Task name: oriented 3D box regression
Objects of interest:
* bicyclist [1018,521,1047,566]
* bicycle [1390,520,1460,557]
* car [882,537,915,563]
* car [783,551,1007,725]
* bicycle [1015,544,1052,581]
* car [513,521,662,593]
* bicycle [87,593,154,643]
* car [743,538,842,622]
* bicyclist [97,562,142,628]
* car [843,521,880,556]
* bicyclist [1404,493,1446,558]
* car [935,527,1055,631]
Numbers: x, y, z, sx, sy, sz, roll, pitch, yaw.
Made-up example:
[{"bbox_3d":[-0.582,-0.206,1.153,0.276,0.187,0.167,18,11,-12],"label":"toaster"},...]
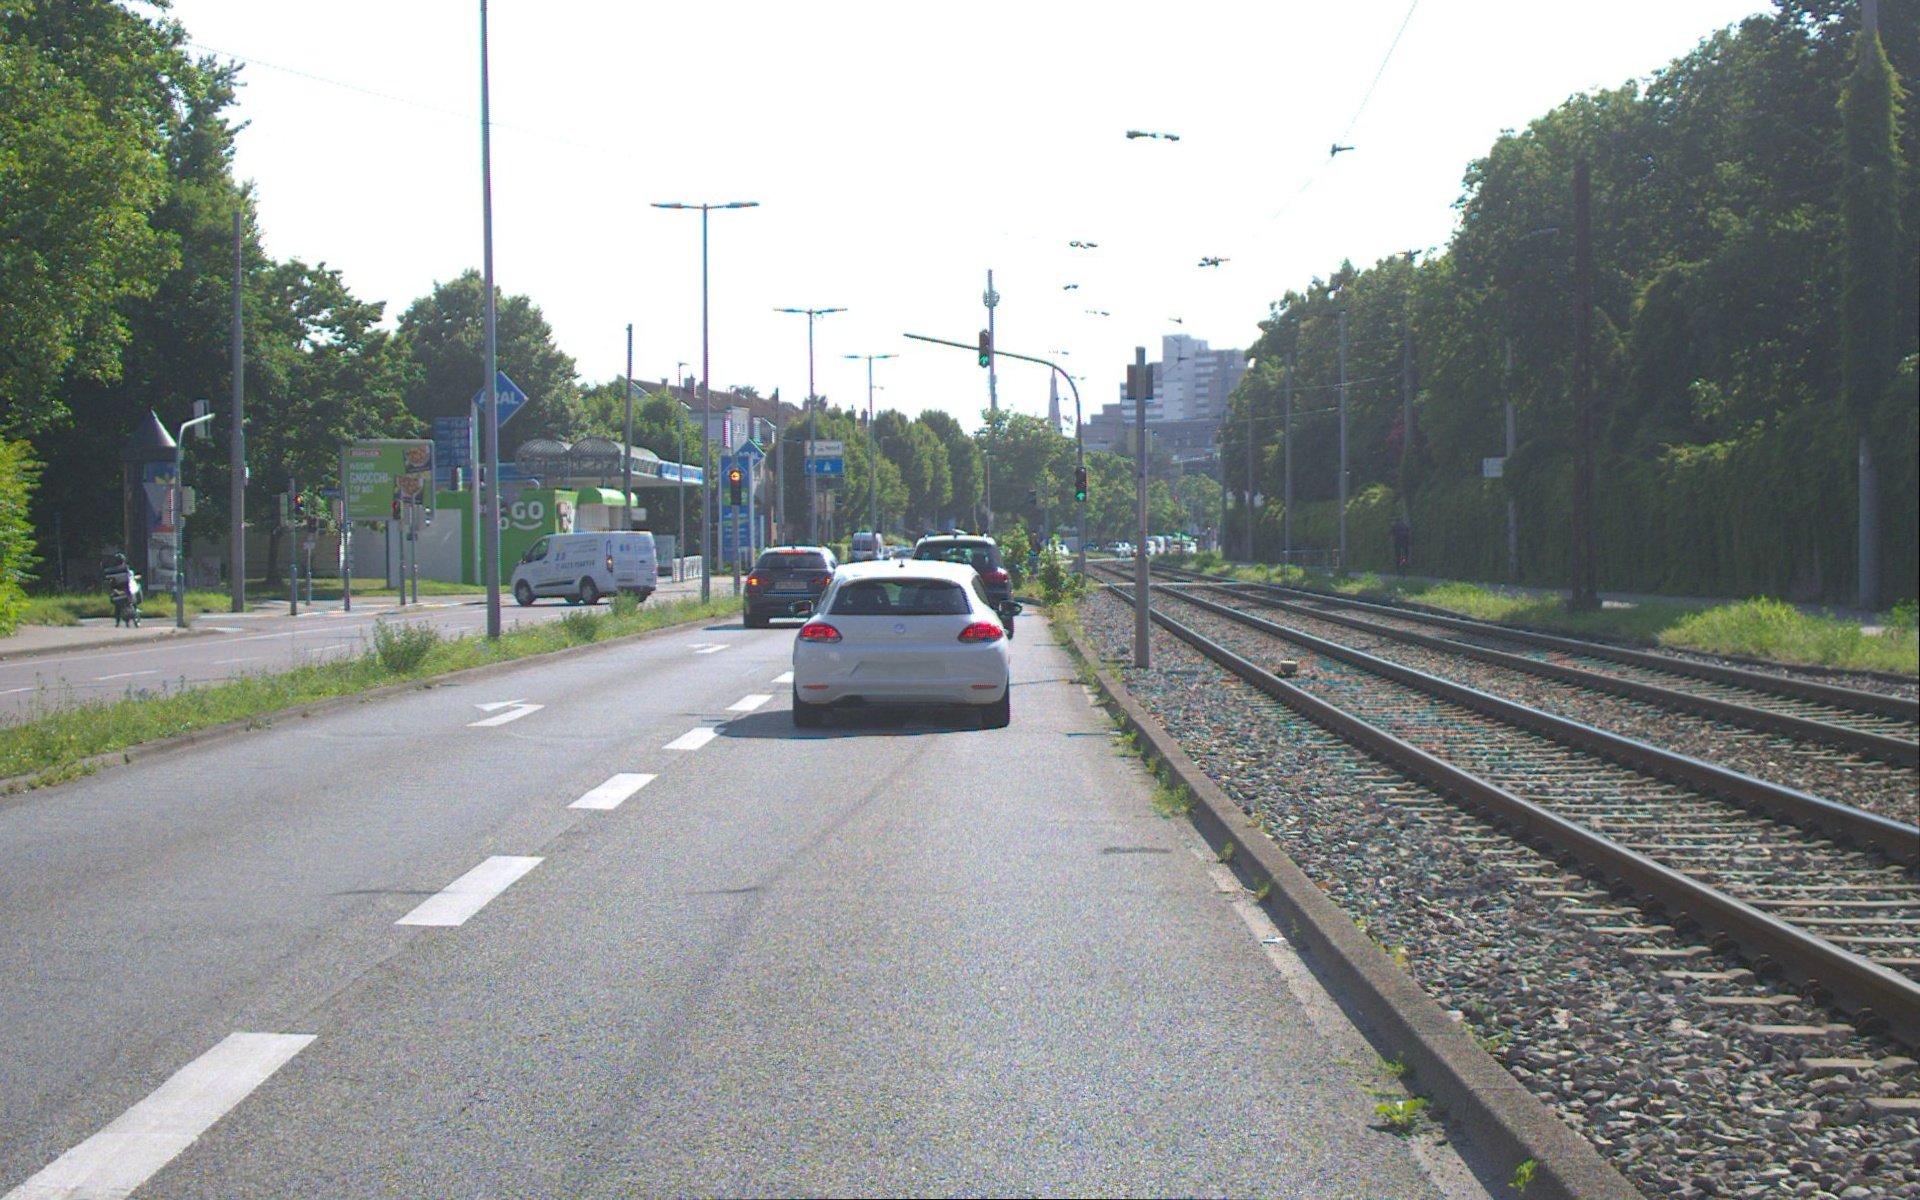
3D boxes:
[{"bbox_3d":[2.269,-1.762,106.931,0.644,1.411,1.012,0,1,16],"label":"bicyclist"},{"bbox_3d":[14.293,-1.878,105.639,1.923,1.111,0.946,0,1,26],"label":"bicycle"},{"bbox_3d":[-3.459,-2.830,193.950,1.653,1.390,4.134,-1,1,1],"label":"car"},{"bbox_3d":[-0.504,0.284,29.468,1.781,1.351,3.601,1,1,1],"label":"car"},{"bbox_3d":[2.285,-1.173,106.971,0.644,1.150,1.935,0,1,16],"label":"bicycle"},{"bbox_3d":[-10.469,-1.205,96.391,1.819,1.956,4.400,-1,1,-44],"label":"car"},{"bbox_3d":[-18.884,0.399,77.357,0.662,1.046,2.580,-1,1,5],"label":"bicycle"},{"bbox_3d":[-3.112,-0.398,64.124,1.760,1.480,4.645,1,1,-2],"label":"car"},{"bbox_3d":[-18.893,-0.116,77.295,0.662,1.447,1.051,-1,1,5],"label":"bicyclist"},{"bbox_3d":[-6.753,-4.257,237.040,1.994,2.368,4.538,-1,1,5],"label":"car"},{"bbox_3d":[14.289,-2.281,105.626,1.034,1.987,0.946,0,1,26],"label":"bicyclist"},{"bbox_3d":[0.531,-0.359,55.226,1.724,1.587,3.601,1,1,-2],"label":"car"}]
